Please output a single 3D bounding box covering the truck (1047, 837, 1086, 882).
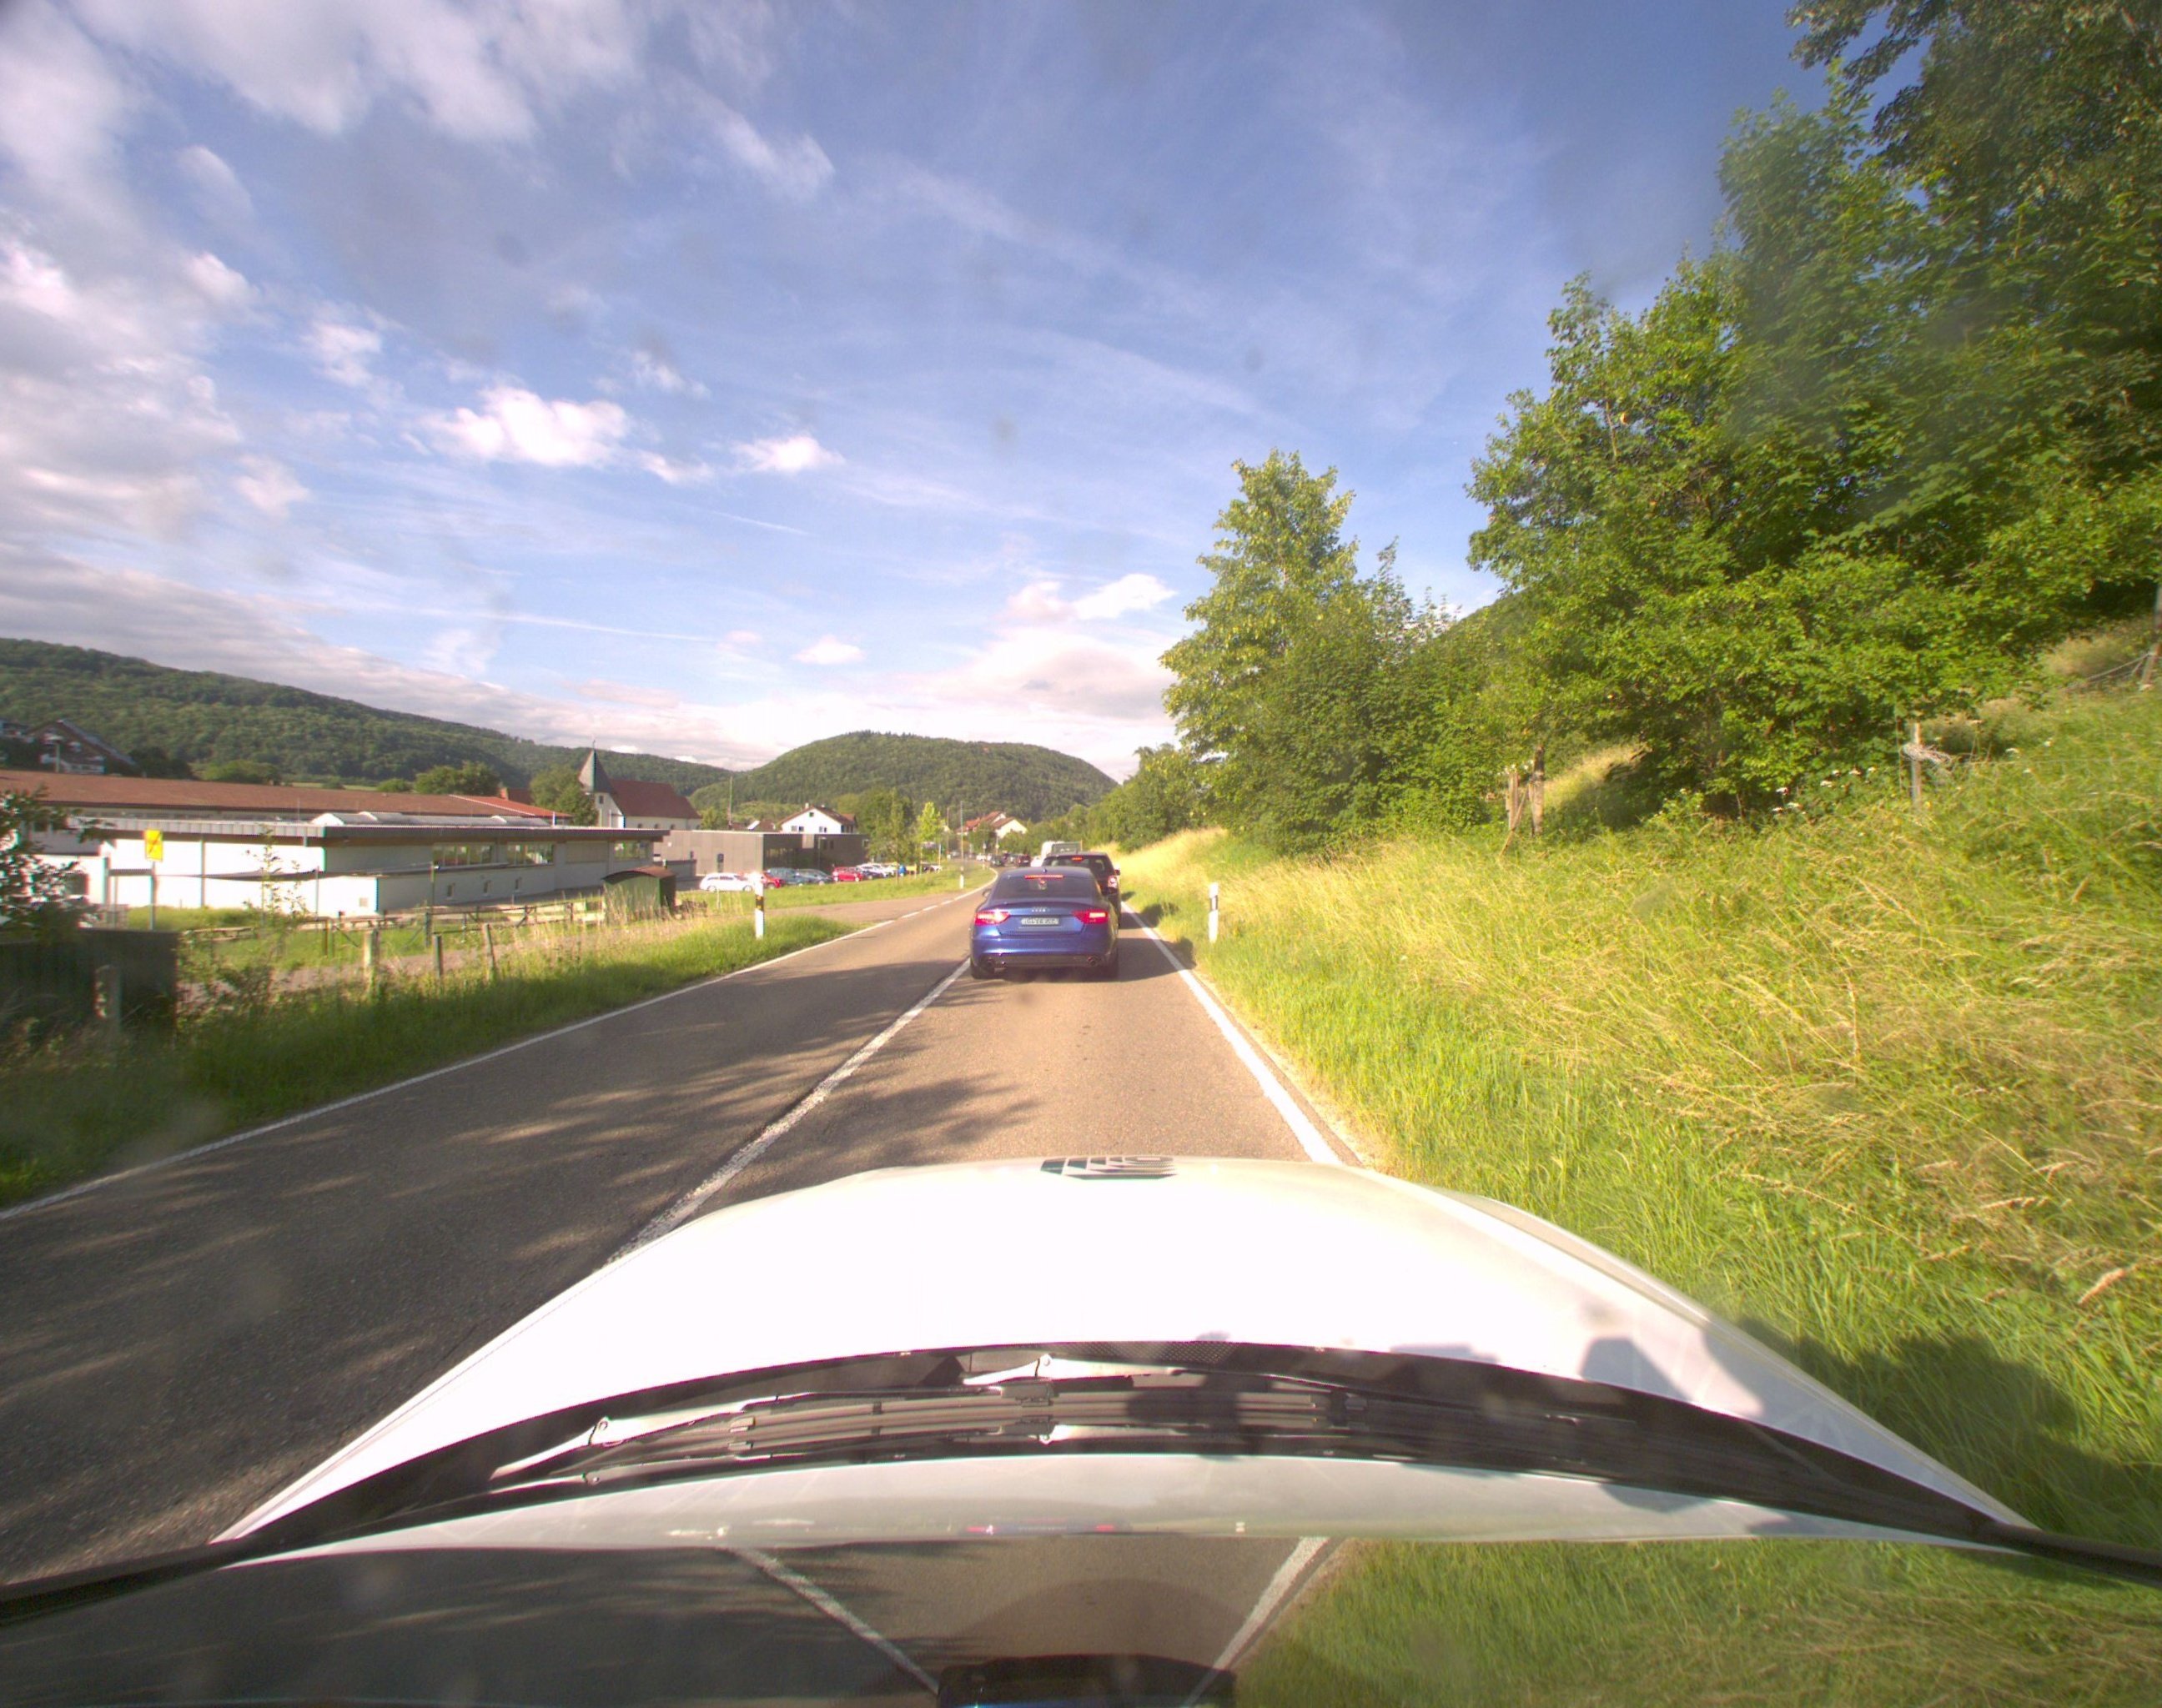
[{"bbox_3d":[-1.001,0.355,50.639,2.225,2.570,6.096,0,-1,-3],"label":"truck"}]

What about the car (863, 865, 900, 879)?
[{"bbox_3d":[-24.314,2.171,99.317,3.976,1.711,1.999,0,-1,-2],"label":"car"}]

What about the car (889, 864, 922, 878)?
[{"bbox_3d":[-23.164,2.236,107.754,3.976,1.711,1.999,0,-1,-2],"label":"car"}]

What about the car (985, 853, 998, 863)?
[{"bbox_3d":[-15.550,0.657,141.585,1.847,1.712,3.982,0,-1,-13],"label":"car"}]

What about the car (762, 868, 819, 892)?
[{"bbox_3d":[-25.941,2.321,72.857,4.394,2.008,1.999,0,-1,-2],"label":"car"}]

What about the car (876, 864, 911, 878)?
[{"bbox_3d":[-24.162,2.221,105.104,3.976,1.711,1.999,0,-1,-2],"label":"car"}]

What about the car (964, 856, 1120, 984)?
[{"bbox_3d":[-0.377,0.765,11.114,1.747,1.430,3.848,0,-1,2],"label":"car"}]

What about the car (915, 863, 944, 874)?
[{"bbox_3d":[-22.687,2.199,122.120,3.976,1.579,1.751,0,-1,-2],"label":"car"}]

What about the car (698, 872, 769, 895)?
[{"bbox_3d":[-27.376,2.302,64.270,4.718,1.711,1.999,0,-1,-2],"label":"car"}]

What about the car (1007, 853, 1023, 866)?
[{"bbox_3d":[-9.462,0.781,116.704,1.847,1.712,3.982,0,-1,-13],"label":"car"}]

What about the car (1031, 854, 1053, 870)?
[{"bbox_3d":[-3.857,0.752,79.817,1.843,1.482,3.991,0,-1,-6],"label":"car"}]

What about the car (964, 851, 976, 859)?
[{"bbox_3d":[-22.824,0.175,168.028,1.850,1.712,3.977,0,-1,-17],"label":"car"}]

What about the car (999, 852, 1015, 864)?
[{"bbox_3d":[-11.329,0.637,124.315,1.847,1.712,3.983,0,-1,-12],"label":"car"}]

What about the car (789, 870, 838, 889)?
[{"bbox_3d":[-25.245,2.398,77.067,3.976,1.711,1.999,0,-1,-2],"label":"car"}]

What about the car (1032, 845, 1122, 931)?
[{"bbox_3d":[-0.023,0.683,17.893,1.747,1.681,3.848,0,-1,2],"label":"car"}]

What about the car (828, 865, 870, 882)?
[{"bbox_3d":[-25.024,2.074,87.806,3.976,1.711,1.999,0,-1,-2],"label":"car"}]

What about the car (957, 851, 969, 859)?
[{"bbox_3d":[-25.900,0.266,178.740,1.850,1.712,3.977,0,-1,-17],"label":"car"}]

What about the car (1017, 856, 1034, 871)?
[{"bbox_3d":[-6.443,1.067,94.068,1.843,1.712,3.991,0,-1,-6],"label":"car"}]

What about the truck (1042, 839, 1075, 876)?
[{"bbox_3d":[-1.727,0.264,60.639,2.225,2.570,6.699,0,-1,-3],"label":"truck"}]

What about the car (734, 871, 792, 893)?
[{"bbox_3d":[-26.203,2.318,67.226,3.976,1.711,1.999,0,-1,-2],"label":"car"}]

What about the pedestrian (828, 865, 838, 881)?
[{"bbox_3d":[-30.439,2.306,99.974,0.822,2.014,0.973,0,-1,1],"label":"pedestrian"}]

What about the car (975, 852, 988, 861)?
[{"bbox_3d":[-18.792,0.475,153.698,1.850,1.712,3.977,0,-1,-17],"label":"car"}]

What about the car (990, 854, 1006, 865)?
[{"bbox_3d":[-10.575,0.720,103.348,1.705,1.430,4.035,0,-1,-11],"label":"car"}]

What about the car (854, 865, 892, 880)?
[{"bbox_3d":[-24.468,2.143,96.034,3.976,1.711,1.999,0,-1,-2],"label":"car"}]

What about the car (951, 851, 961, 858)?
[{"bbox_3d":[-29.086,0.101,189.333,1.850,1.712,3.977,0,-1,-17],"label":"car"}]

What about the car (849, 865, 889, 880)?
[{"bbox_3d":[-24.051,2.107,92.374,3.976,1.711,1.999,0,-1,-2],"label":"car"}]
